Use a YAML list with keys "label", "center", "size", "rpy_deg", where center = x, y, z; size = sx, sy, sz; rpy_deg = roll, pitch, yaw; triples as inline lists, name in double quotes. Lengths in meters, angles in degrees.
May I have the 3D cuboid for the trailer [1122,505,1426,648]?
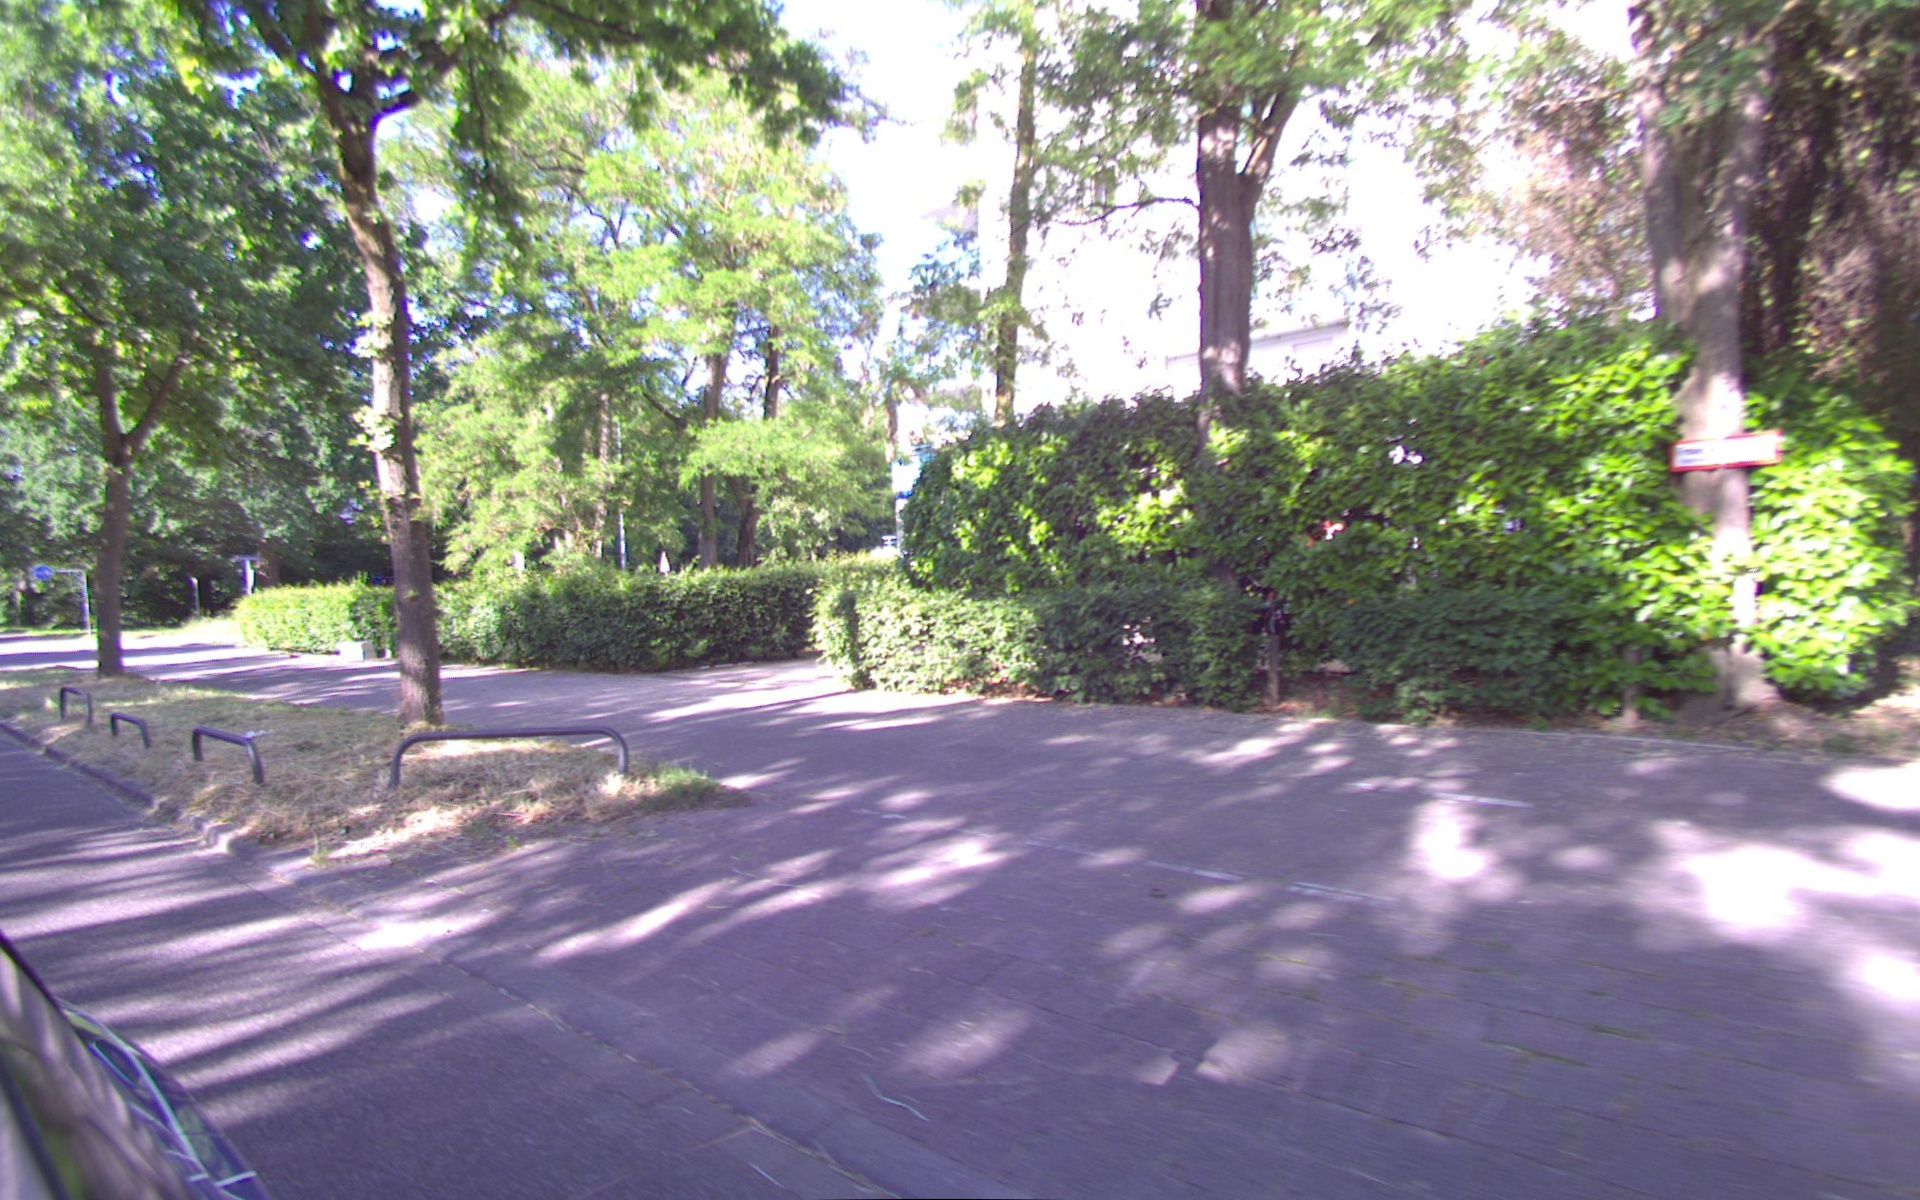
- label: "trailer"
  center: [5.093, -0.342, 16.869]
  size: [1.953, 2.058, 4.434]
  rpy_deg: [-2, 1, -43]
